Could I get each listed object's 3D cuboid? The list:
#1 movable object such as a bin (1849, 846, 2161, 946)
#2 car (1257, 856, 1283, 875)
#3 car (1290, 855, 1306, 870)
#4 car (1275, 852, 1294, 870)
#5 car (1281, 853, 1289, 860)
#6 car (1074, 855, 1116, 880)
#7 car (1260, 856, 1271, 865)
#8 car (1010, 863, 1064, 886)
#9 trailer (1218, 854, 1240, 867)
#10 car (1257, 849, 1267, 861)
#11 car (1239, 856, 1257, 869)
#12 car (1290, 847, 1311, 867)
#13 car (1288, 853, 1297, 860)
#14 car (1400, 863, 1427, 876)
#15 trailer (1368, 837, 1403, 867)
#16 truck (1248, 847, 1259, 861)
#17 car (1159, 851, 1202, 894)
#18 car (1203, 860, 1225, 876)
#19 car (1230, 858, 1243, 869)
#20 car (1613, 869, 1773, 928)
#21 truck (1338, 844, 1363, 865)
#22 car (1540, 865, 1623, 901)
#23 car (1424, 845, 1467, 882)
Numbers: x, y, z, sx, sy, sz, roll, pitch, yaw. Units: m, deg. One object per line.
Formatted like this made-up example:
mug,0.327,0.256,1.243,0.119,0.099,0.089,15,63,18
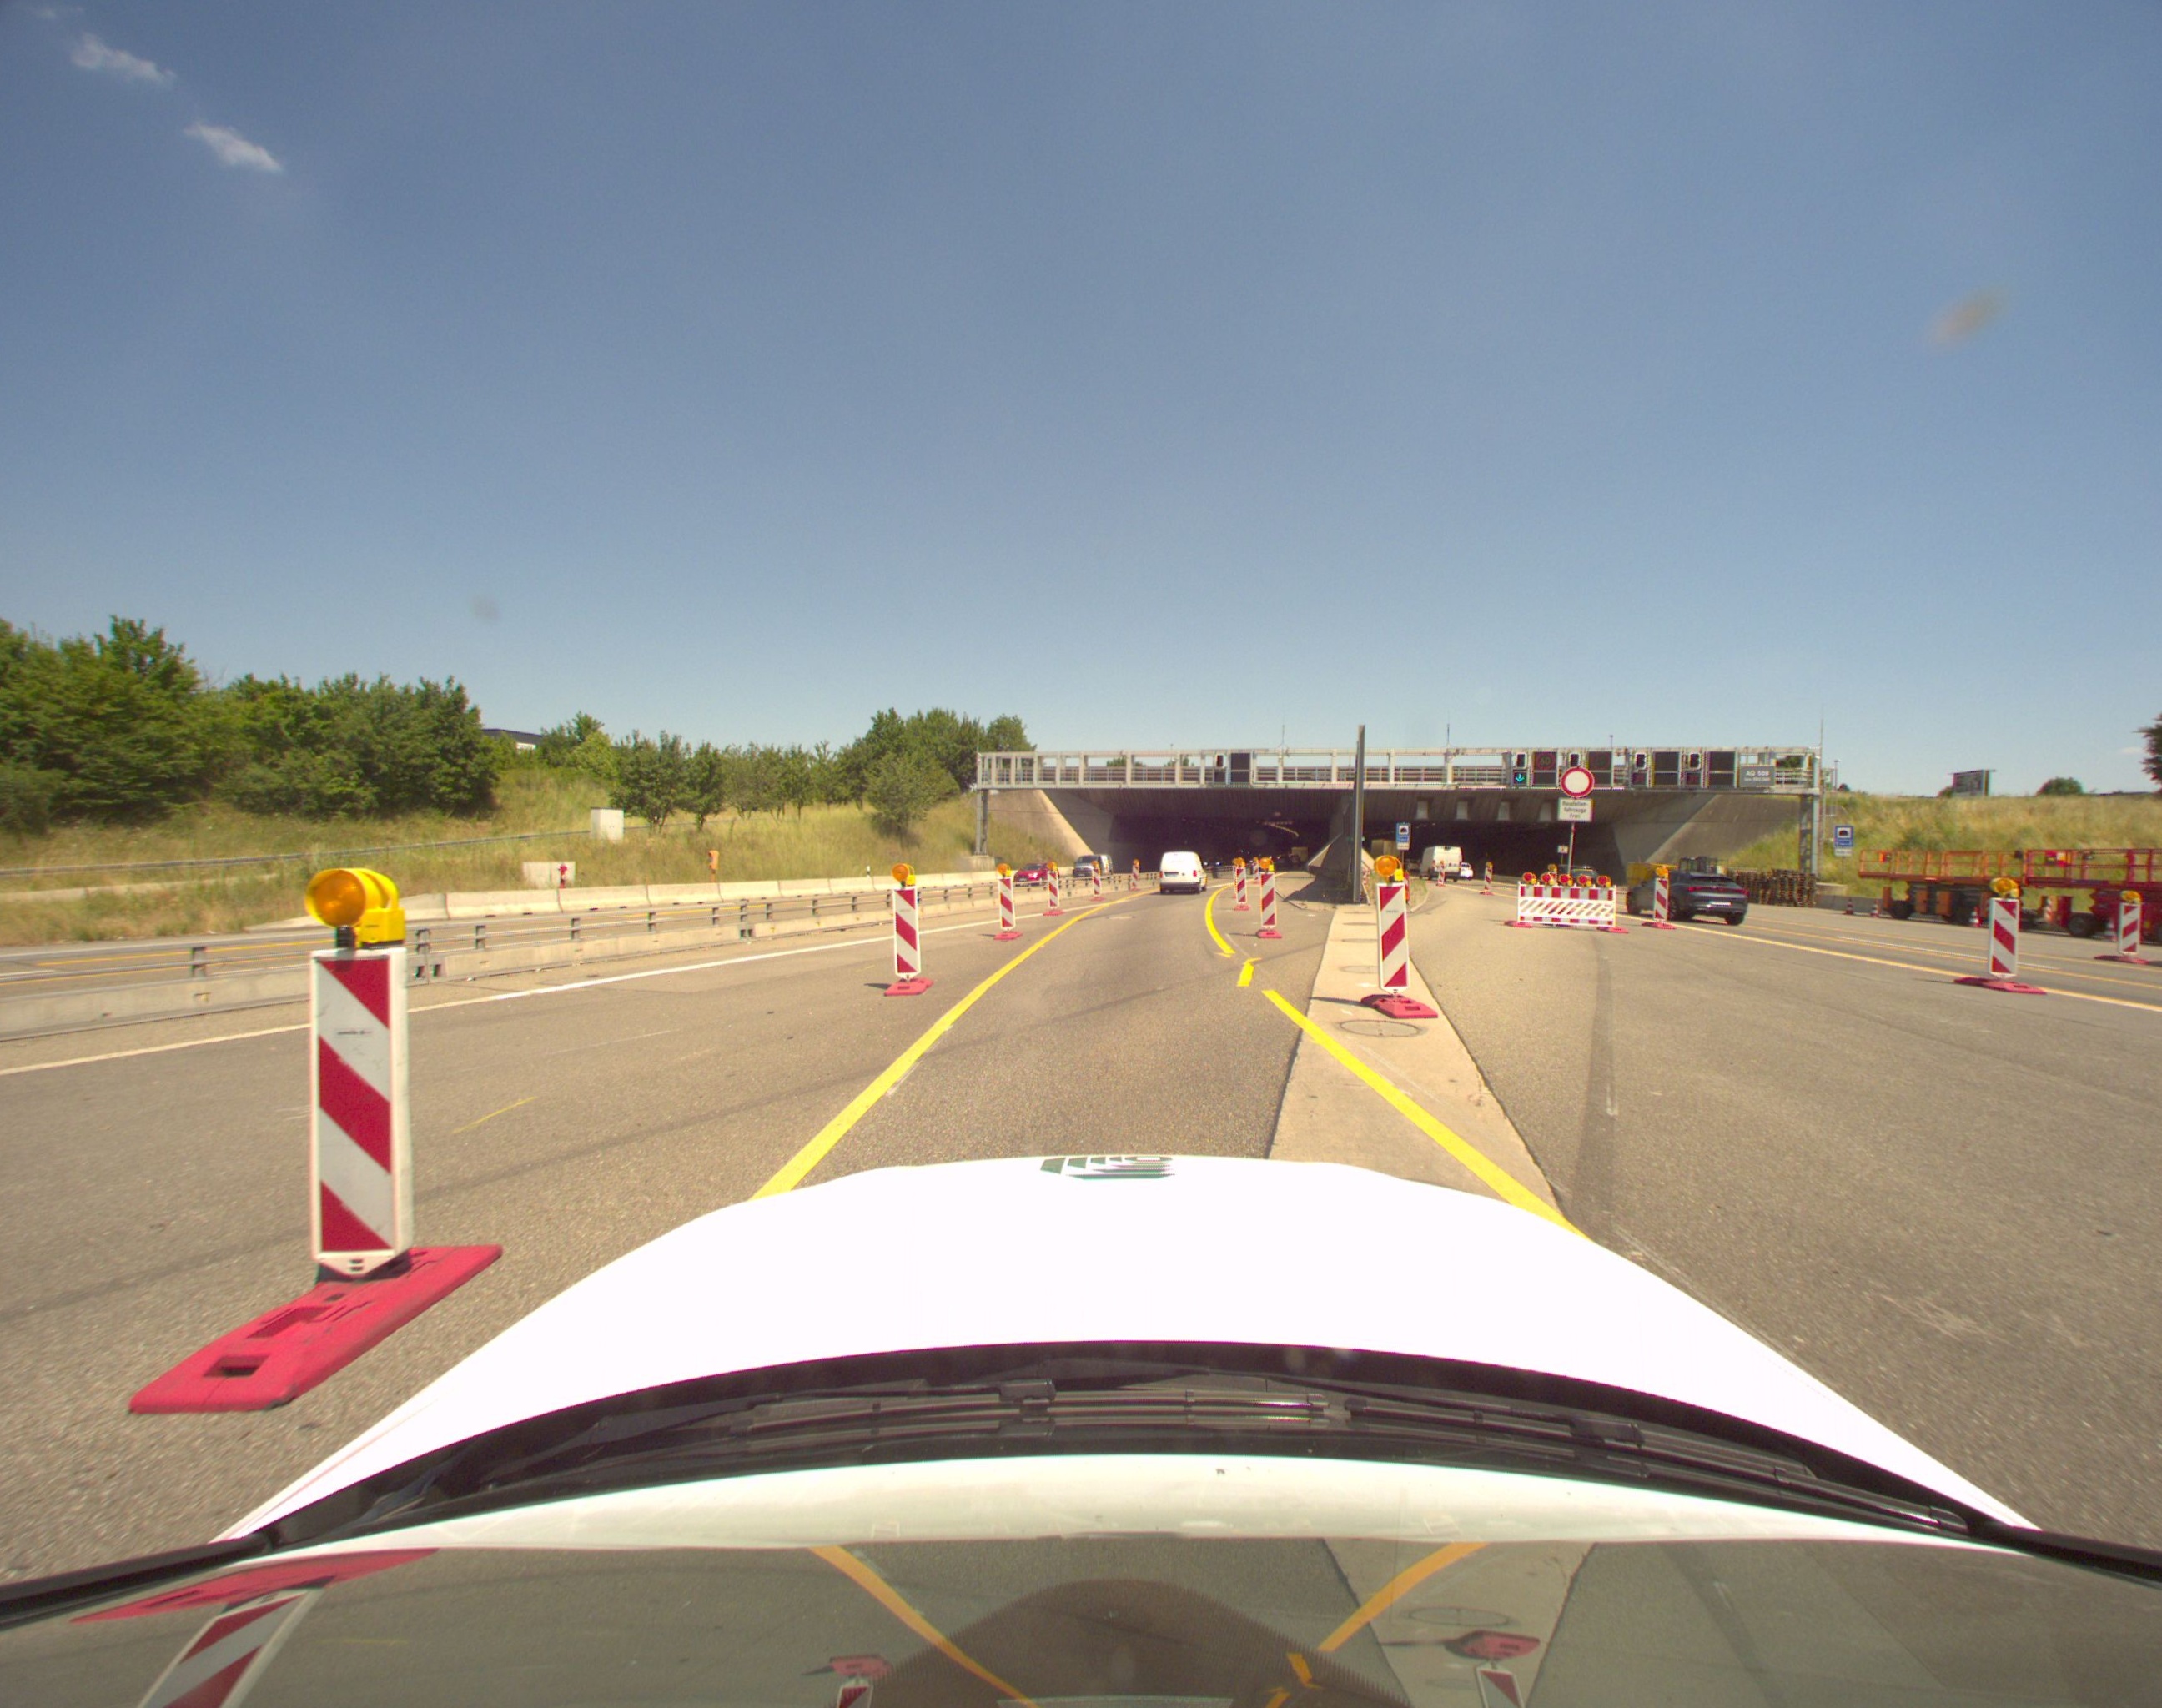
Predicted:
movable object such as a bin,35.103,1.334,29.693,3.090,3.011,14.748,0,-1,12
car,16.437,1.018,70.689,1.794,1.537,4.429,1,0,18
car,26.994,1.059,101.118,1.795,1.751,4.428,1,0,16
car,21.563,0.784,86.326,1.795,1.815,4.428,1,0,16
car,62.860,0.667,251.113,2.060,2.021,4.675,-1,0,10
car,1.164,1.046,63.723,1.673,1.834,4.812,-2,-2,22
car,34.513,1.219,152.527,1.760,1.577,4.465,-1,0,16
car,-2.745,1.282,51.578,1.672,1.395,4.022,-2,-2,25
trailer,20.642,0.883,113.118,1.929,1.805,5.552,-1,0,22
car,41.119,0.187,185.054,1.979,2.515,6.065,-1,0,14
car,22.492,1.095,109.511,1.759,1.593,5.009,-1,0,18
car,32.759,0.536,121.360,2.792,2.774,7.132,0,-2,17
car,60.022,0.768,231.119,2.060,2.021,4.675,-1,0,10
car,38.335,1.774,94.019,1.804,1.464,4.665,3,0,10
trailer,45.287,-0.169,121.663,2.714,4.062,14.141,3,0,12
truck,48.308,0.075,228.033,2.790,3.916,6.480,-1,0,14
car,4.484,0.819,36.461,1.798,1.794,3.739,1,0,8
car,13.856,1.419,84.775,1.729,1.593,4.246,-1,-1,16
car,26.141,1.612,136.680,1.760,1.666,4.826,-1,0,15
car,18.749,1.285,25.272,1.982,1.486,4.689,3,0,9
truck,60.717,0.218,184.007,3.379,4.335,16.588,3,-1,12
car,25.933,1.454,42.404,2.006,1.662,5.254,3,0,12
car,27.922,0.745,62.622,2.248,2.536,6.614,2,0,18
